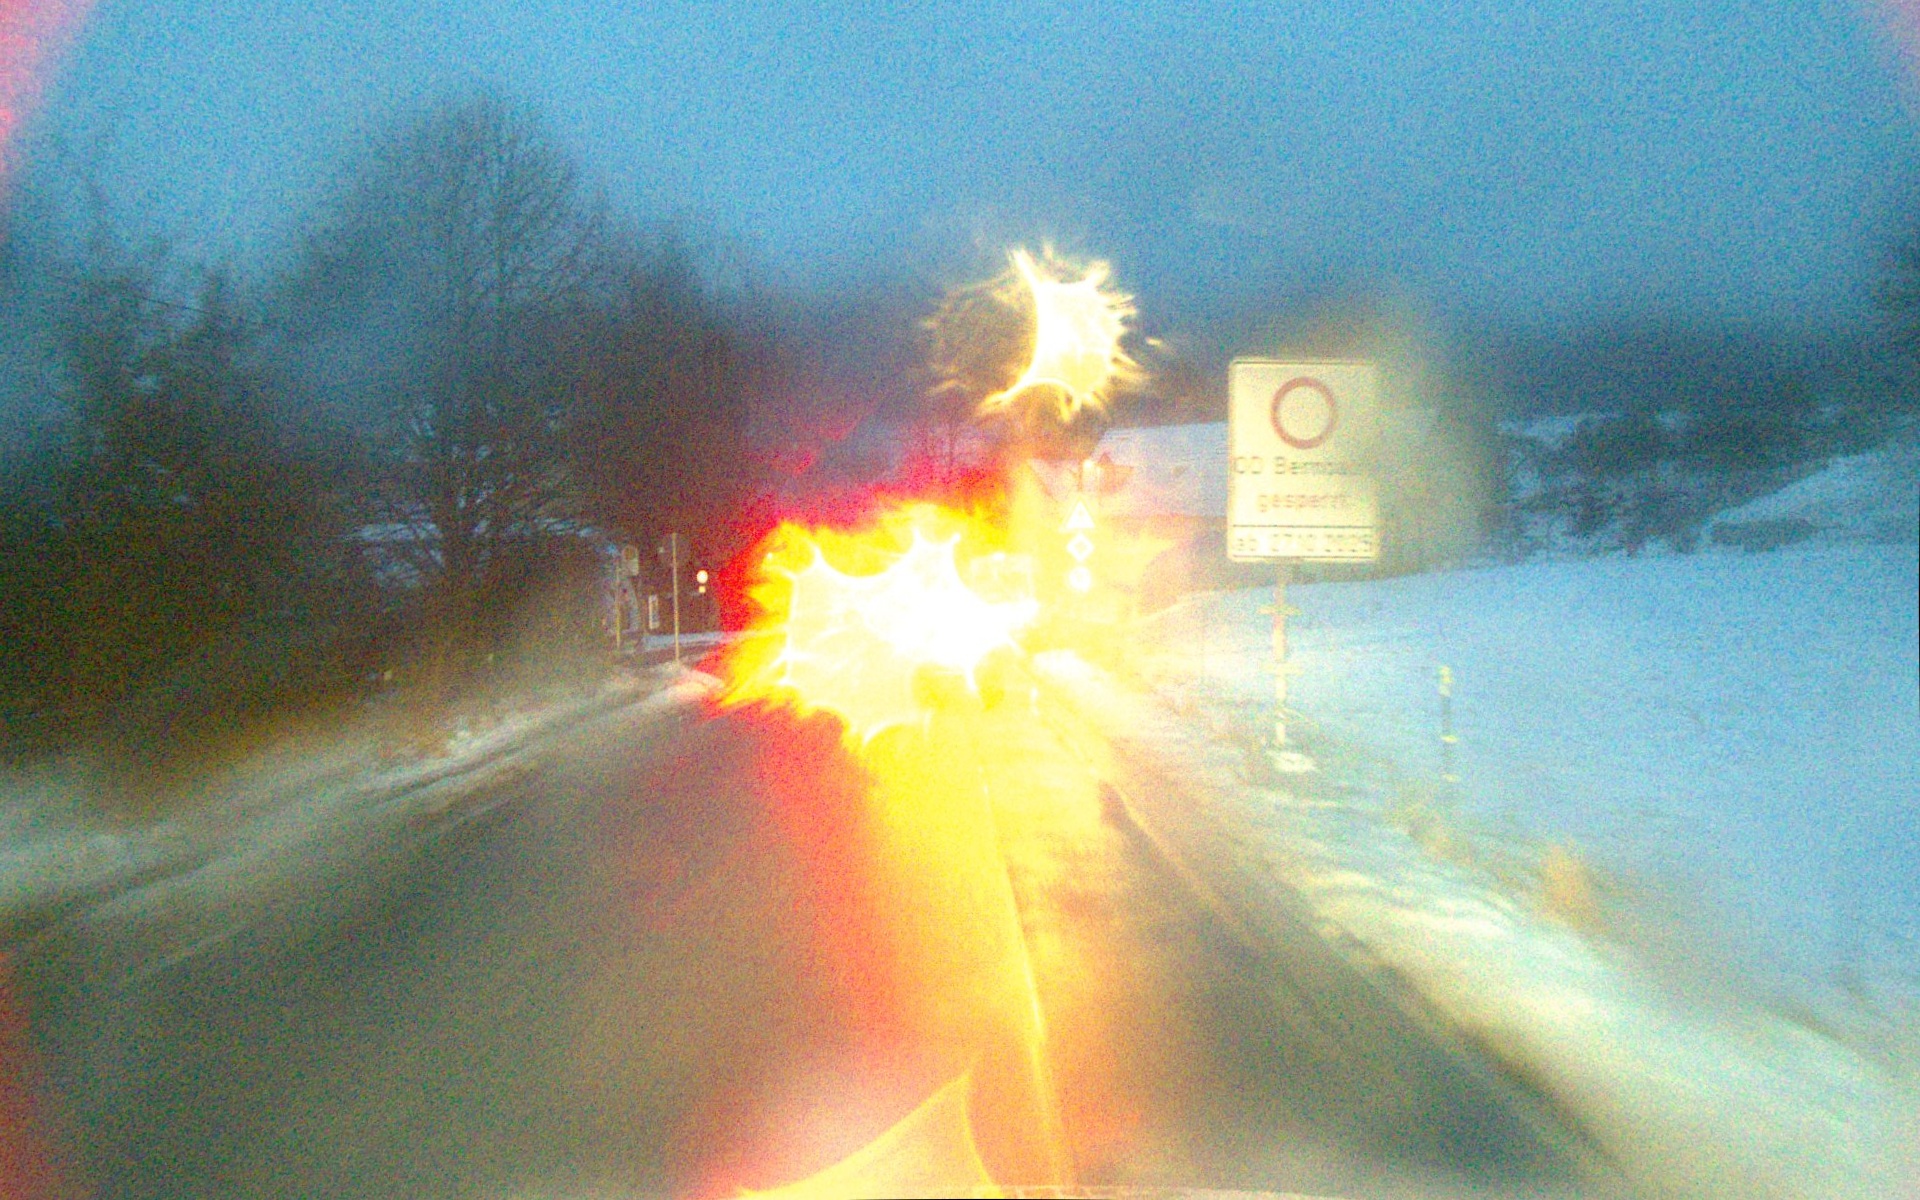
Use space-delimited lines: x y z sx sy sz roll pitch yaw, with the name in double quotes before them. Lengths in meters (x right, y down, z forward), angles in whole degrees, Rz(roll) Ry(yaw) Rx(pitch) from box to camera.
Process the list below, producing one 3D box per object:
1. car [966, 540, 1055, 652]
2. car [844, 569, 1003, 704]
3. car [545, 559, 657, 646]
"car" 1.453 -0.061 49.314 2.385 3.071 5.325 -2 -1 1
"car" -0.610 0.511 25.825 2.228 1.873 5.004 0 0 -2
"car" -11.468 0.054 53.307 2.419 2.616 6.226 0 0 -2
